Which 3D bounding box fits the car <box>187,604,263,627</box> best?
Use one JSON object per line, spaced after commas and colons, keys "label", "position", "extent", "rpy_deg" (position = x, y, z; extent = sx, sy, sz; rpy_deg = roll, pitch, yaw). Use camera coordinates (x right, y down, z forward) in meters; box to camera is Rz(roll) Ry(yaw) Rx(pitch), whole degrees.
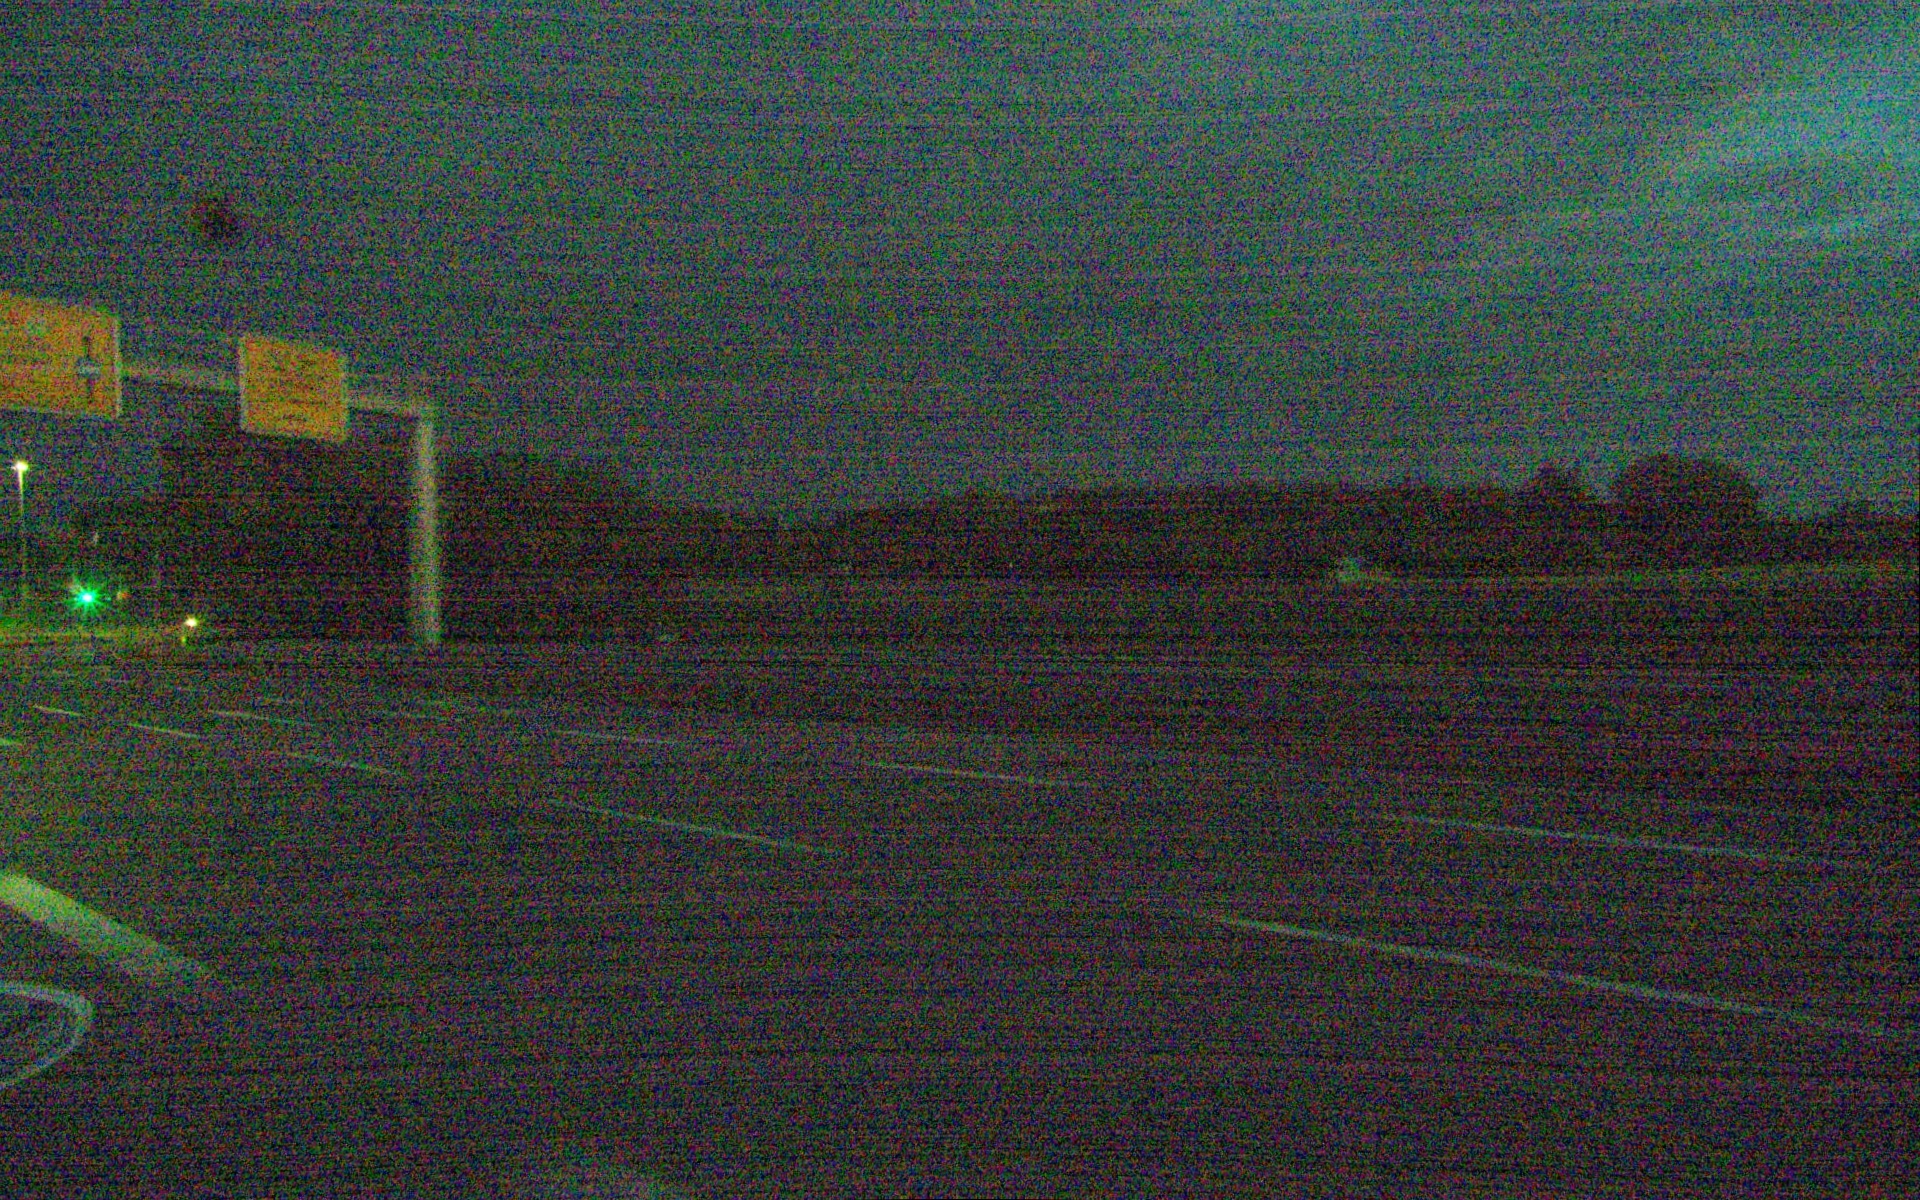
{"label": "car", "position": [-53.481, 1.103, 72.947], "extent": [1.976, 1.590, 4.060], "rpy_deg": [1, 0, 36]}
